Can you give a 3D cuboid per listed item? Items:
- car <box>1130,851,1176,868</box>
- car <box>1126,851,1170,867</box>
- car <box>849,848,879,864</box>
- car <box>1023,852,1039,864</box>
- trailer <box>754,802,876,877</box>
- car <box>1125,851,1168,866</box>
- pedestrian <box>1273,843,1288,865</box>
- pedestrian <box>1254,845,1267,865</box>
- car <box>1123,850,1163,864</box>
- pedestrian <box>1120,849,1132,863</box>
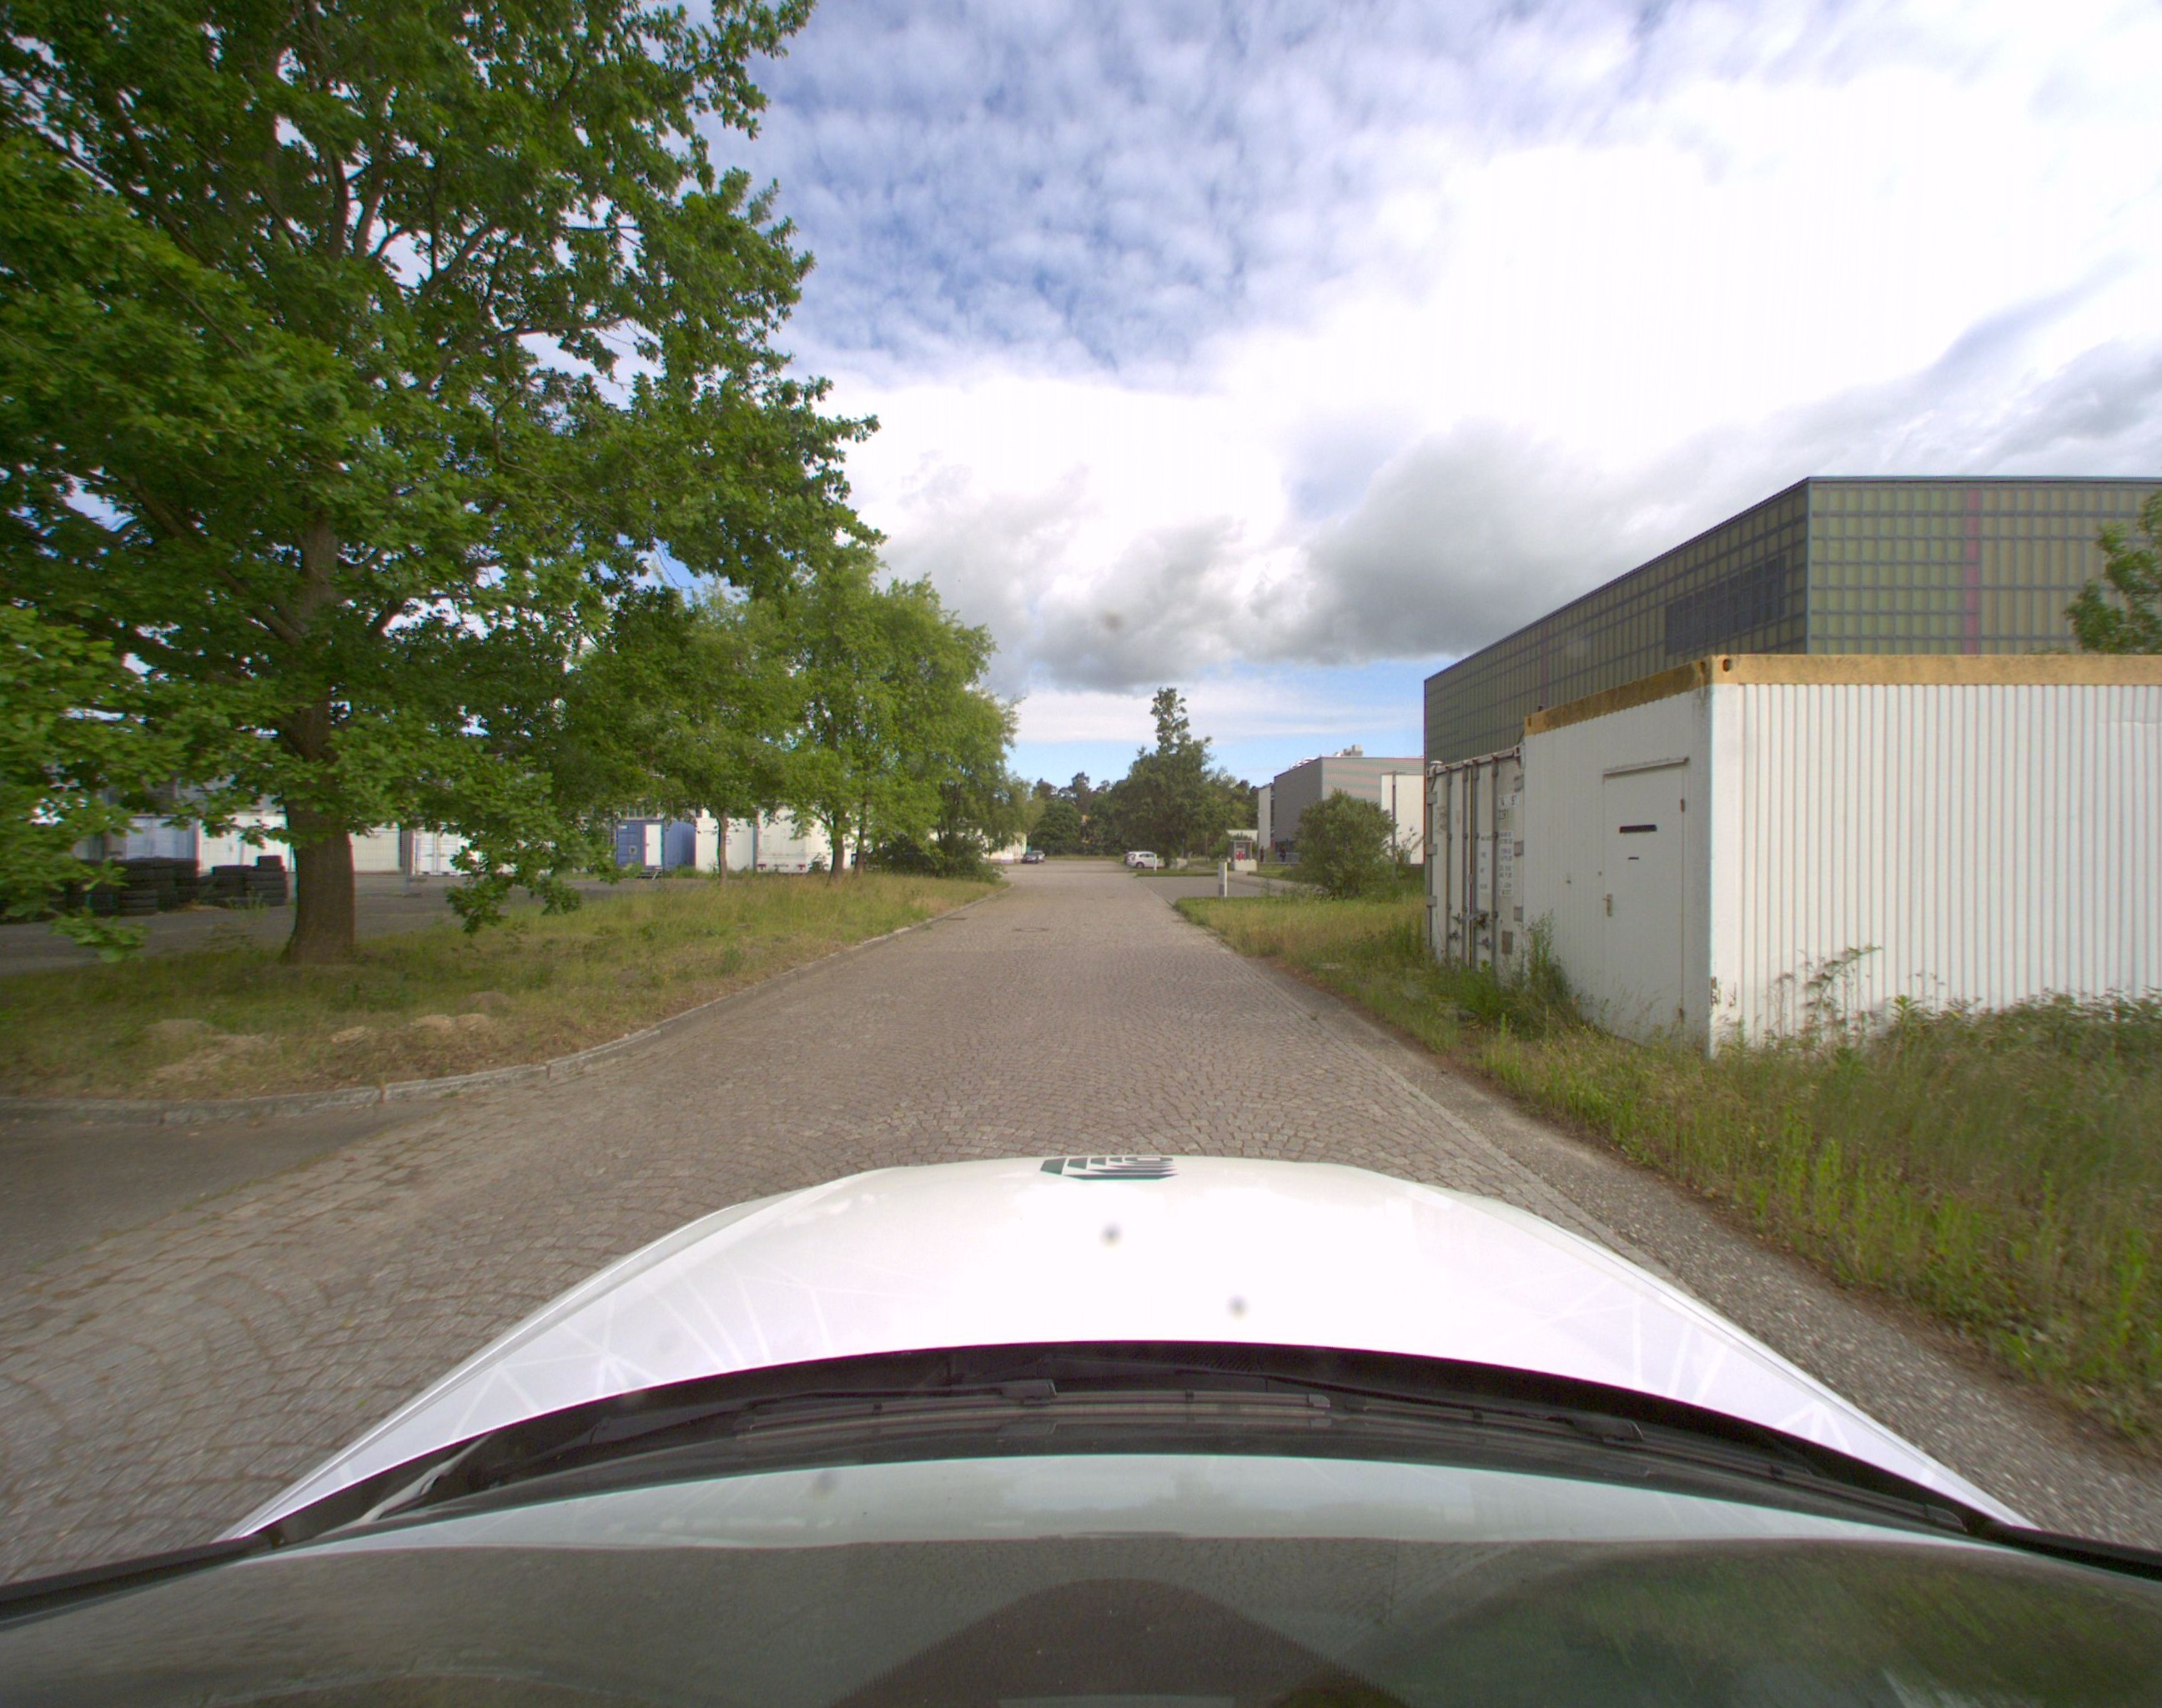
[{"bbox_3d":[6.341,0.477,72.176,3.973,1.455,2.000,1,-1,1],"label":"car"},{"bbox_3d":[6.087,0.426,74.347,3.973,1.455,1.698,0,0,1],"label":"car"},{"bbox_3d":[-22.511,0.218,84.473,1.893,1.575,4.003,0,0,2],"label":"car"},{"bbox_3d":[-5.923,0.431,96.242,1.744,1.364,3.998,0,0,-1],"label":"car"},{"bbox_3d":[-14.356,-0.722,45.190,2.645,3.705,10.731,0,0,3],"label":"trailer"},{"bbox_3d":[6.201,0.402,77.387,3.973,1.455,1.770,0,0,1],"label":"car"},{"bbox_3d":[17.731,0.012,72.442,0.924,1.936,0.846,1,0,-38],"label":"pedestrian"},{"bbox_3d":[17.772,0.112,80.703,0.919,2.013,1.144,0,0,-5],"label":"pedestrian"},{"bbox_3d":[6.499,0.315,85.506,3.978,1.533,1.998,0,0,-3],"label":"car"},{"bbox_3d":[4.864,0.222,88.704,0.958,1.568,0.949,0,0,33],"label":"pedestrian"}]
